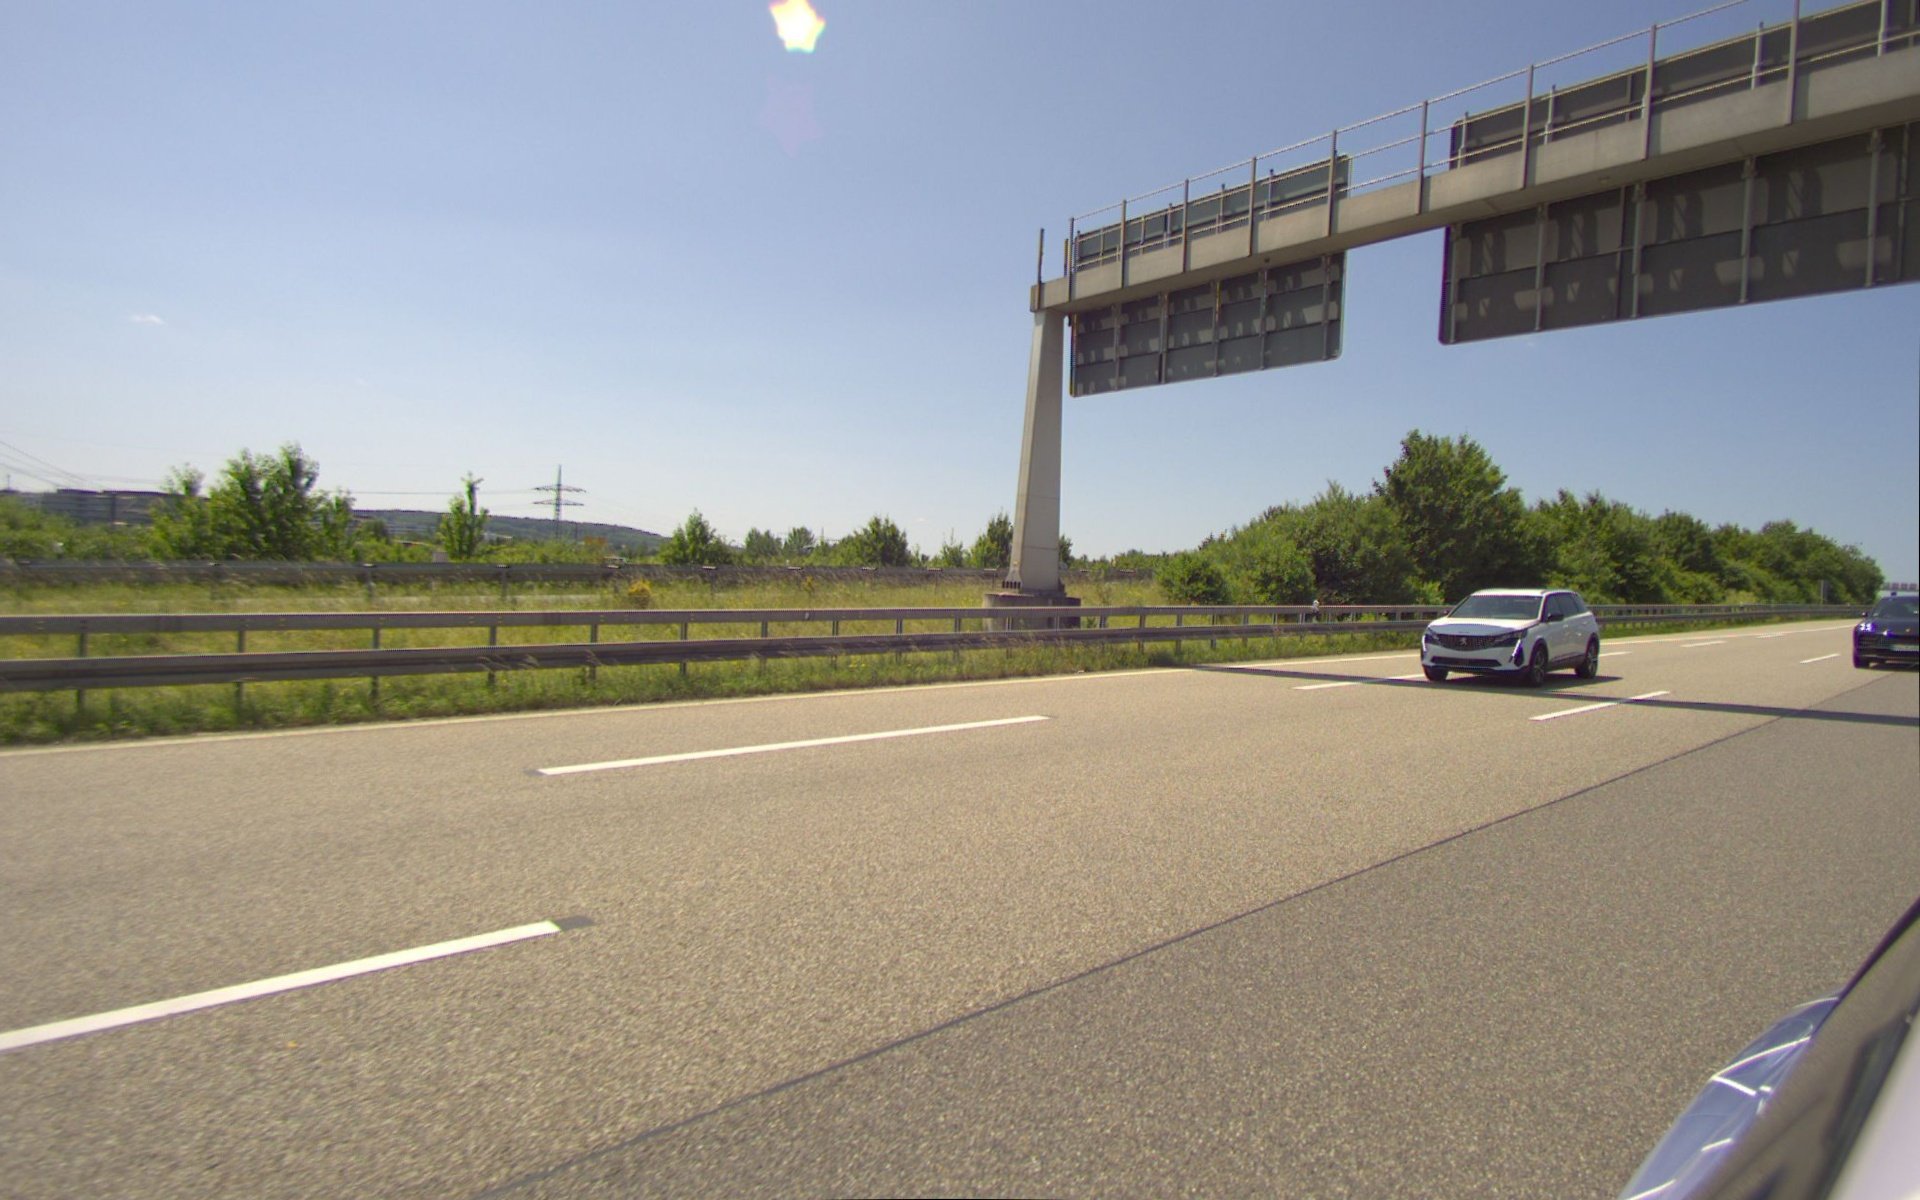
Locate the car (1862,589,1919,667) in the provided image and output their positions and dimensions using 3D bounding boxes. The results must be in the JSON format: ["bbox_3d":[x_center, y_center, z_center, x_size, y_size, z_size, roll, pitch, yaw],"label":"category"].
[{"bbox_3d":[21.587,0.570,22.460,4.061,1.615,1.929,0,0,-42],"label":"car"}]

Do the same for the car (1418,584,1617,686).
[{"bbox_3d":[10.064,0.537,18.120,4.541,1.611,1.746,0,0,-42],"label":"car"}]

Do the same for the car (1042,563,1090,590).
[{"bbox_3d":[6.483,-1.411,61.372,1.687,1.595,4.092,0,0,25],"label":"car"}]

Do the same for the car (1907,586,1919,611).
[{"bbox_3d":[75.262,-0.131,79.042,4.225,1.943,1.805,0,0,-45],"label":"car"}]
